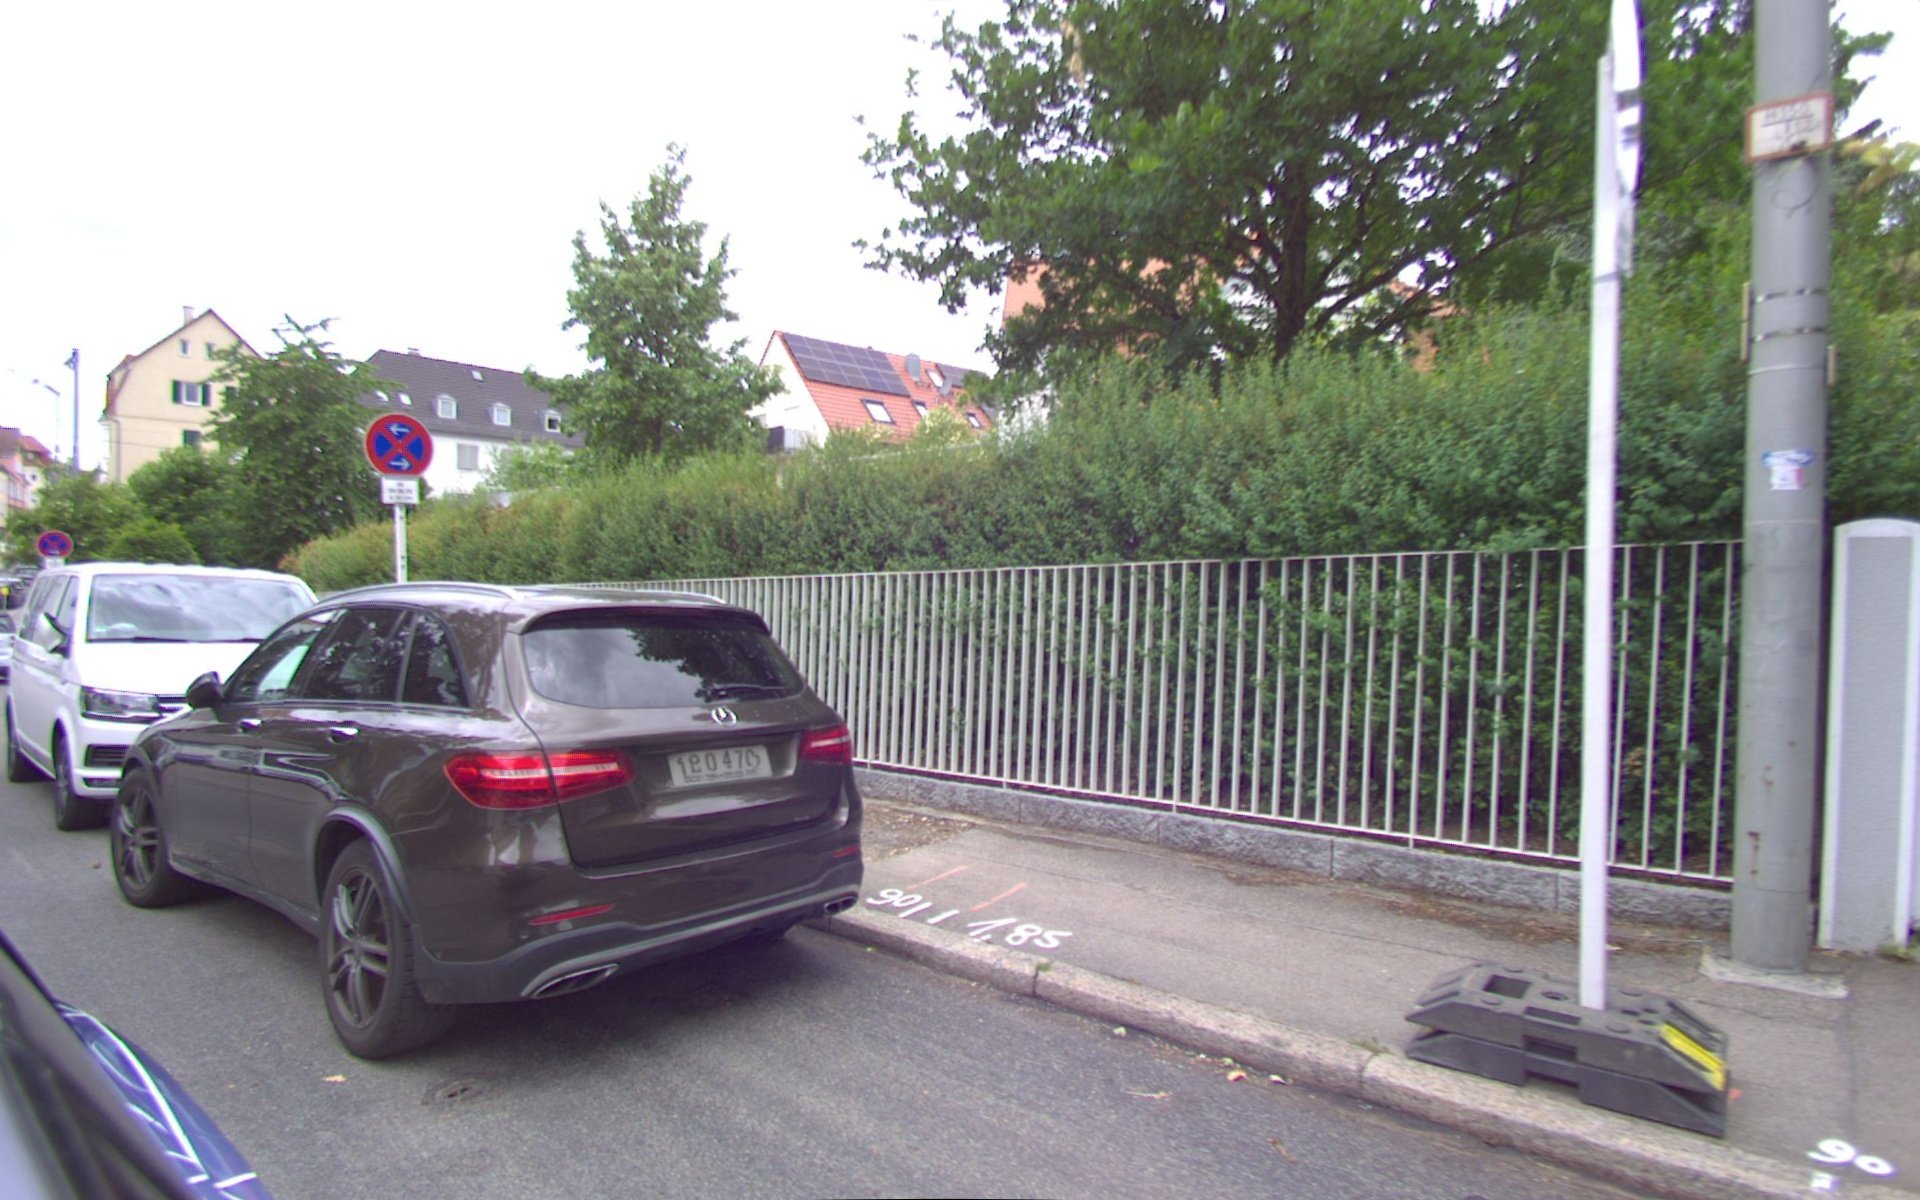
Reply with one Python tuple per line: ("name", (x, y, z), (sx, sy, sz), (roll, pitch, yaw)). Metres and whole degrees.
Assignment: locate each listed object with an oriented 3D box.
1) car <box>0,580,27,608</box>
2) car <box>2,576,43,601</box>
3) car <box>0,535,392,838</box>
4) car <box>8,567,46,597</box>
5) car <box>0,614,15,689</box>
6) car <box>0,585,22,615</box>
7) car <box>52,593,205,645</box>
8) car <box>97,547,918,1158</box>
("car", (-58.409, -0.375, 61.902), (1.617, 1.439, 4.132), (2, 2, -38))
("car", (-60.776, -0.773, 65.665), (1.617, 1.409, 3.711), (1, 2, -38))
("car", (-6.769, 0.586, 8.674), (4.617, 1.928, 1.835), (0, -2, 41))
("car", (-64.105, -1.240, 69.583), (1.727, 1.810, 4.157), (2, 3, -40))
("car", (-21.446, 1.071, 21.826), (1.425, 1.564, 2.773), (4, -3, -42))
("car", (-54.812, -0.040, 57.526), (1.779, 1.491, 4.338), (1, 2, -38))
("car", (-31.247, 0.663, 38.237), (1.811, 1.667, 4.509), (0, 3, 4))
("car", (-2.405, 0.717, 4.792), (4.338, 1.635, 1.773), (-1, -2, 39))
